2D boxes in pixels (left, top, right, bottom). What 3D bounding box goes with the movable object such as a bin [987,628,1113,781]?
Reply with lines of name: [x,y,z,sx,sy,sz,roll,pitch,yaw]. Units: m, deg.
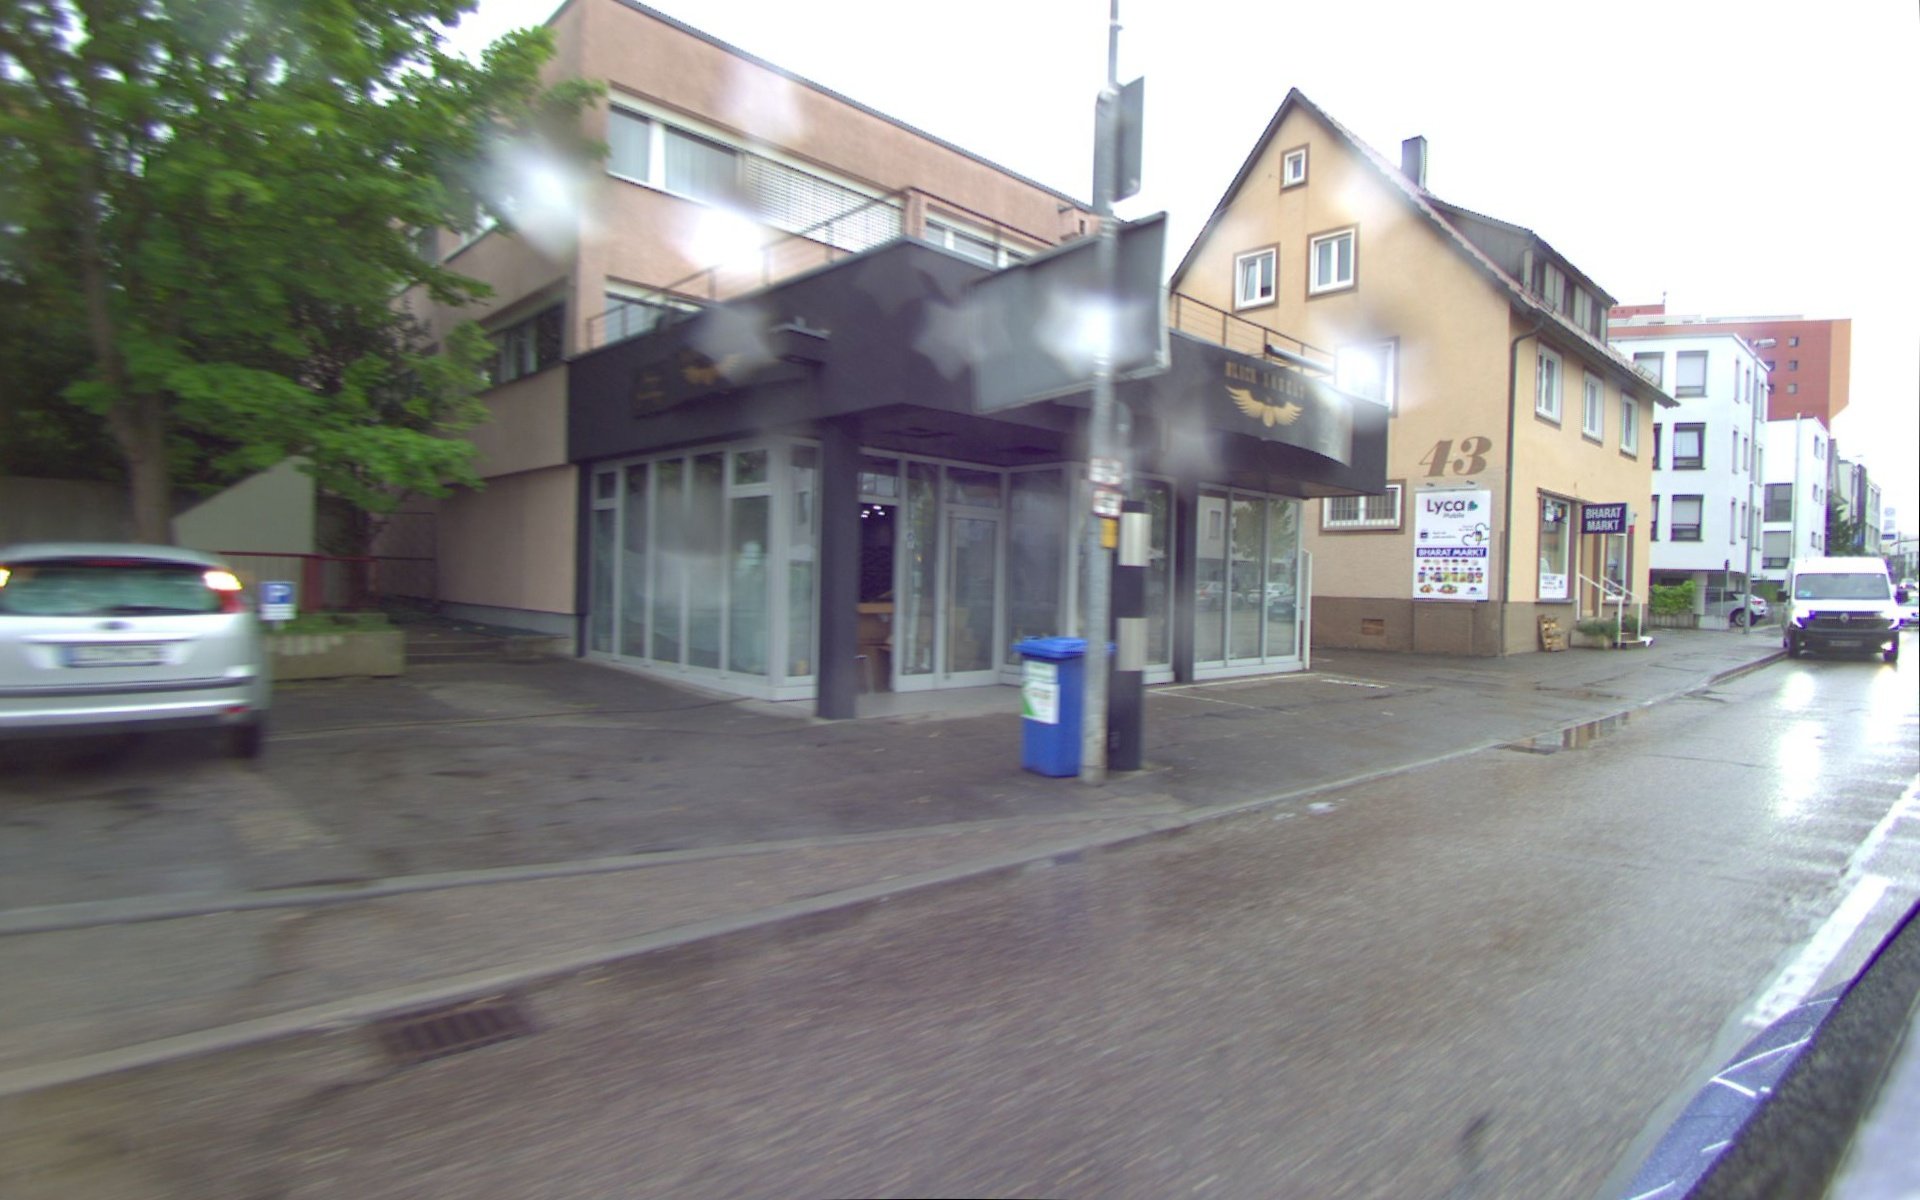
movable object such as a bin: [0.706,0.786,7.935,0.686,1.088,0.637,3,0,-41]

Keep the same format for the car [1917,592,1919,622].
car: [59.425,0.464,61.229,2.052,1.667,4.413,2,4,42]

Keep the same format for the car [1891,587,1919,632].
car: [40.752,0.356,42.769,2.011,1.641,4.295,1,4,43]

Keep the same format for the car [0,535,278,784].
car: [-6.477,0.261,7.809,1.714,1.465,3.998,1,2,-38]

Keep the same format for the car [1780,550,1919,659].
car: [22.623,-0.048,25.519,6.519,2.410,2.293,-3,4,-45]
